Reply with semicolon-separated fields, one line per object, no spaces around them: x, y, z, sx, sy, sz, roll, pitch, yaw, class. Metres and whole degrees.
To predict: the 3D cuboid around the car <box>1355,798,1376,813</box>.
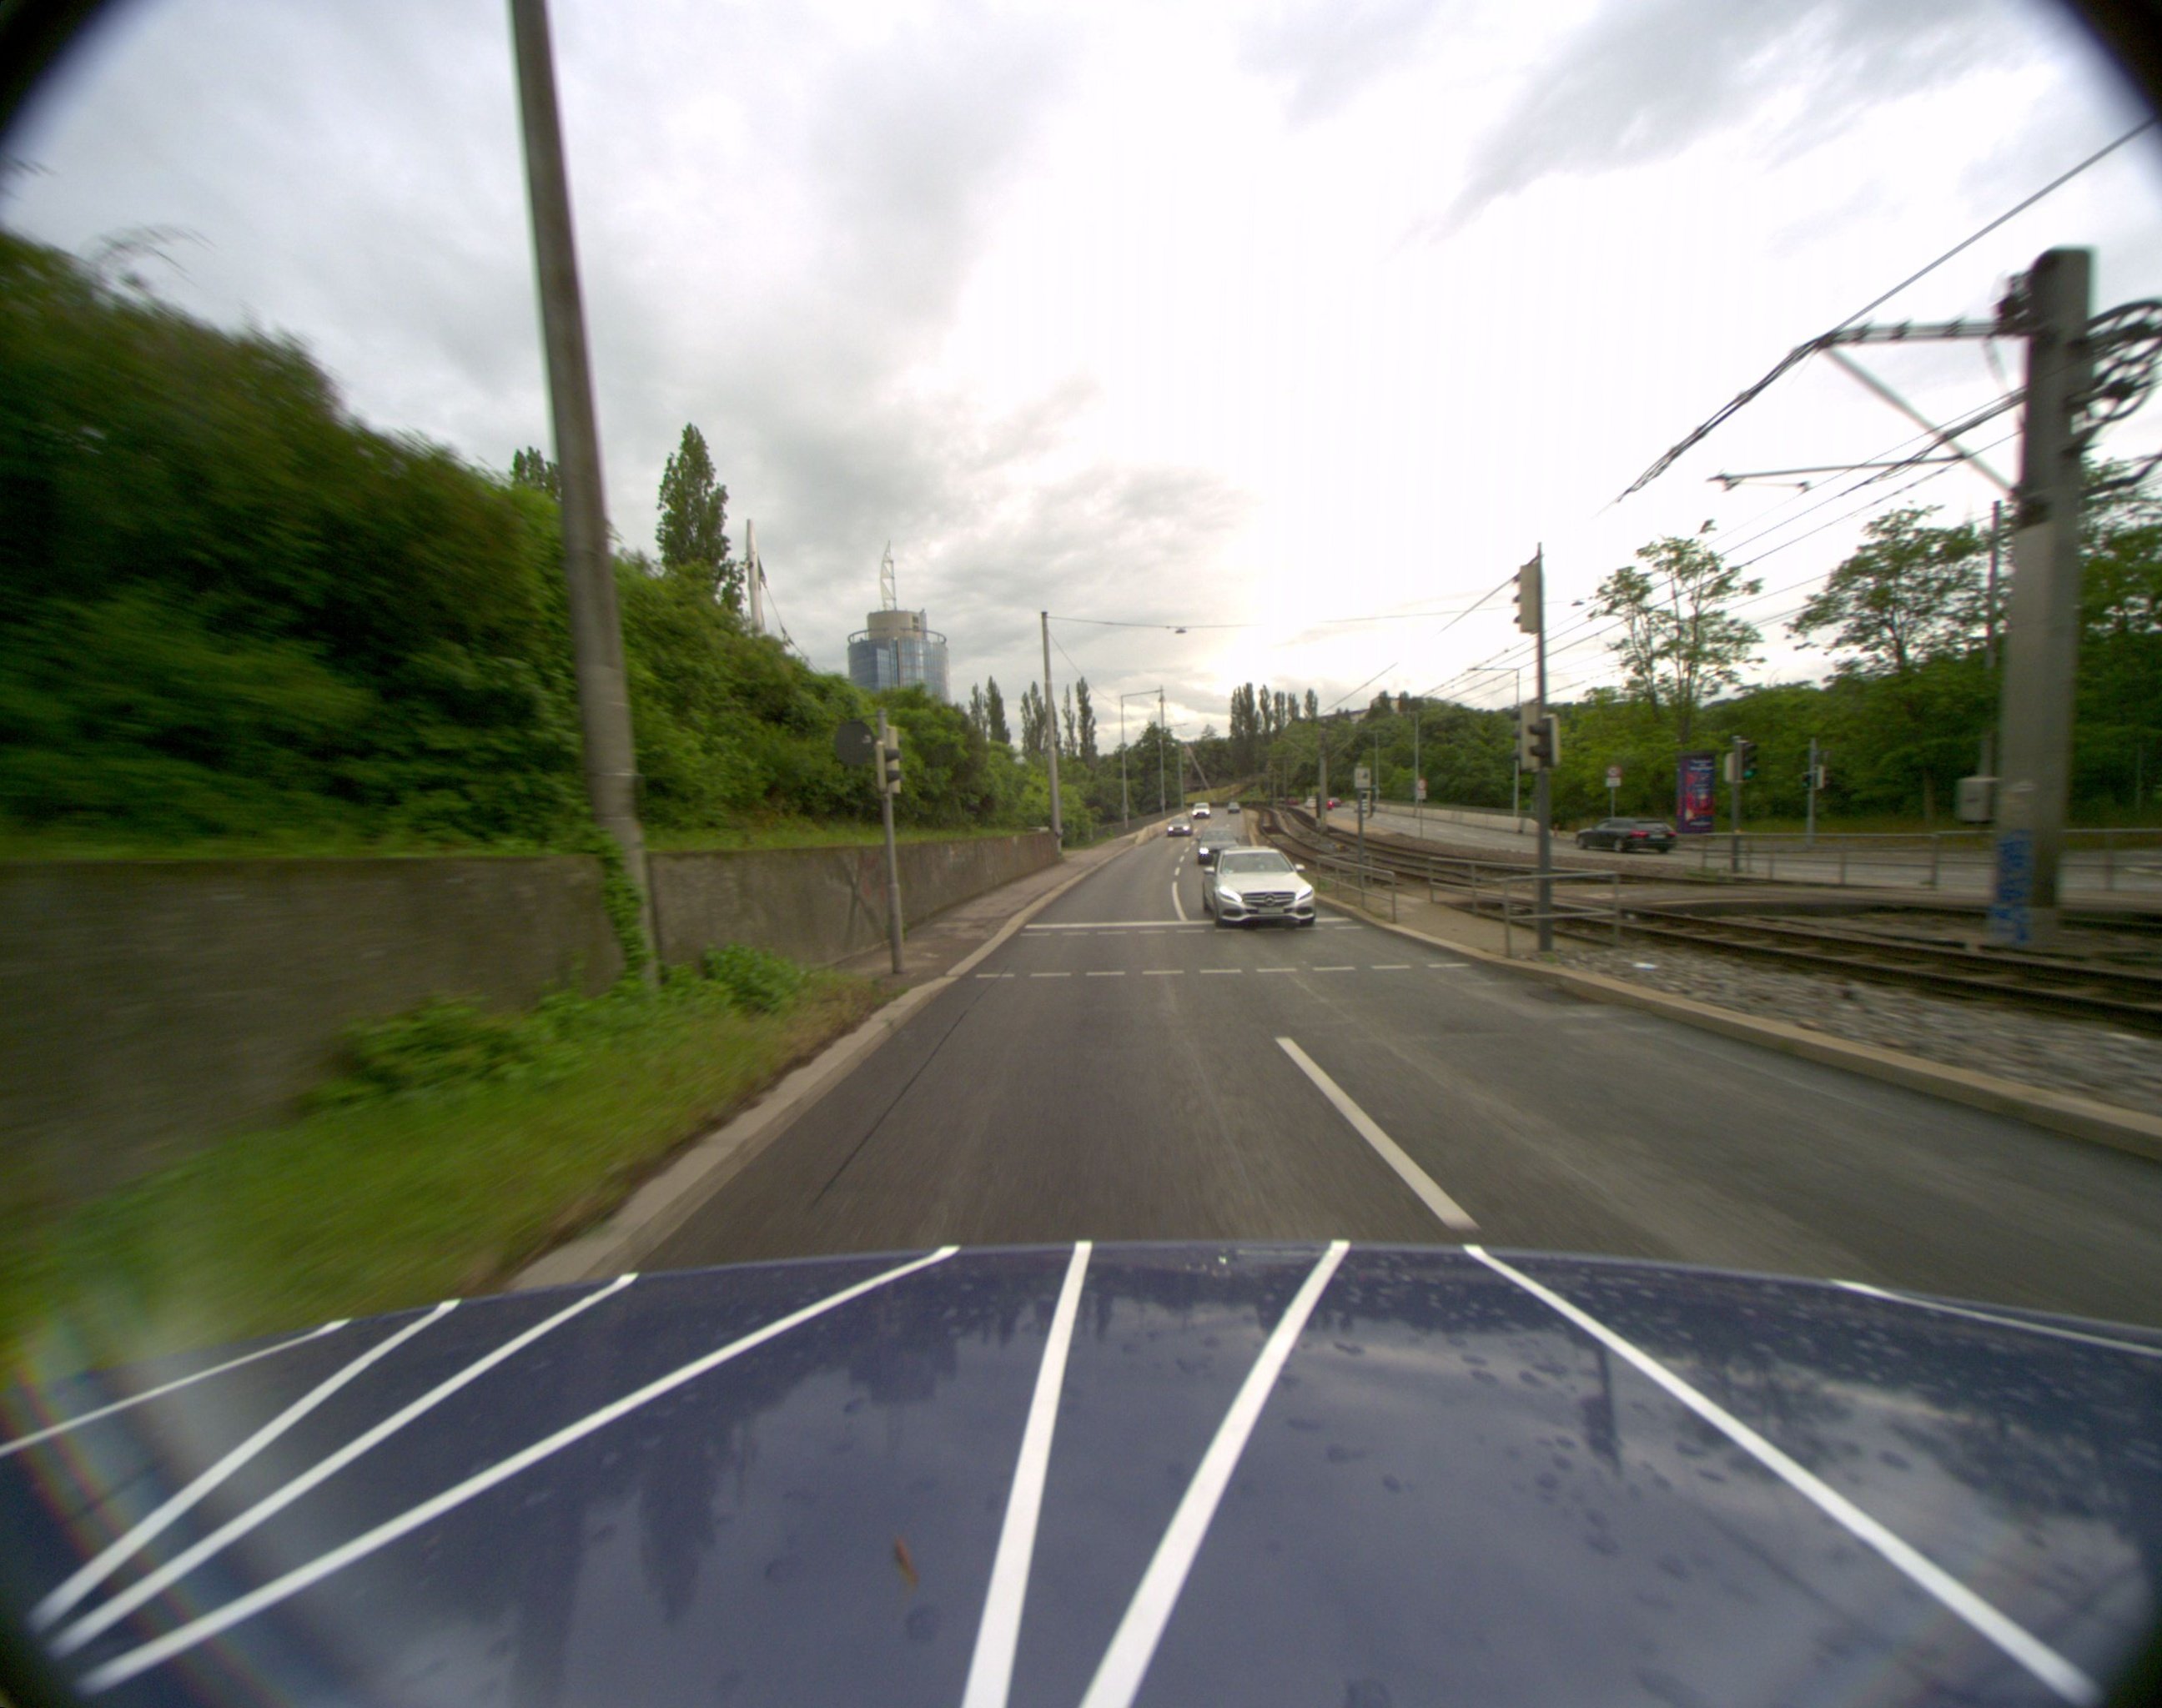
34.113;-5.854;91.212;1.823;1.507;4.530;-1;5;14;car

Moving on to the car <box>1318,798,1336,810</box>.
33.454;-6.803;103.442;1.851;1.589;4.733;0;4;13;car

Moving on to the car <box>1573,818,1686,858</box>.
22.300;-0.676;31.105;1.720;1.450;4.274;-2;2;3;car

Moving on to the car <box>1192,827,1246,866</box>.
5.946;-0.359;33.172;1.735;1.345;3.997;-3;5;2;car

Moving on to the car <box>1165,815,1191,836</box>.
7.338;-2.172;57.057;1.767;1.493;4.000;-2;3;9;car

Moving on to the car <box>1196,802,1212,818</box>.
15.028;-5.388;93.075;1.767;1.807;3.999;-3;5;8;car

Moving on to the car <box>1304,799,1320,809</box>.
35.568;-7.731;117.147;1.733;1.430;4.490;-1;5;9;car

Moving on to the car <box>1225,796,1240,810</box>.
21.537;-7.227;108.188;1.767;1.806;4.001;-3;2;8;car

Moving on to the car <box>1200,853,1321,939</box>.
3.470;0.746;15.362;1.871;1.348;4.060;-2;2;6;car

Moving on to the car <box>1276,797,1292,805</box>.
42.431;-11.114;158.918;1.822;1.429;4.735;-3;4;-5;car

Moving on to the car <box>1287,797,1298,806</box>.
38.751;-9.692;139.150;1.603;1.486;3.016;-1;6;9;car

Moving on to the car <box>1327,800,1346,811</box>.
39.766;-7.597;118.350;1.972;1.589;5.184;-1;4;9;car
